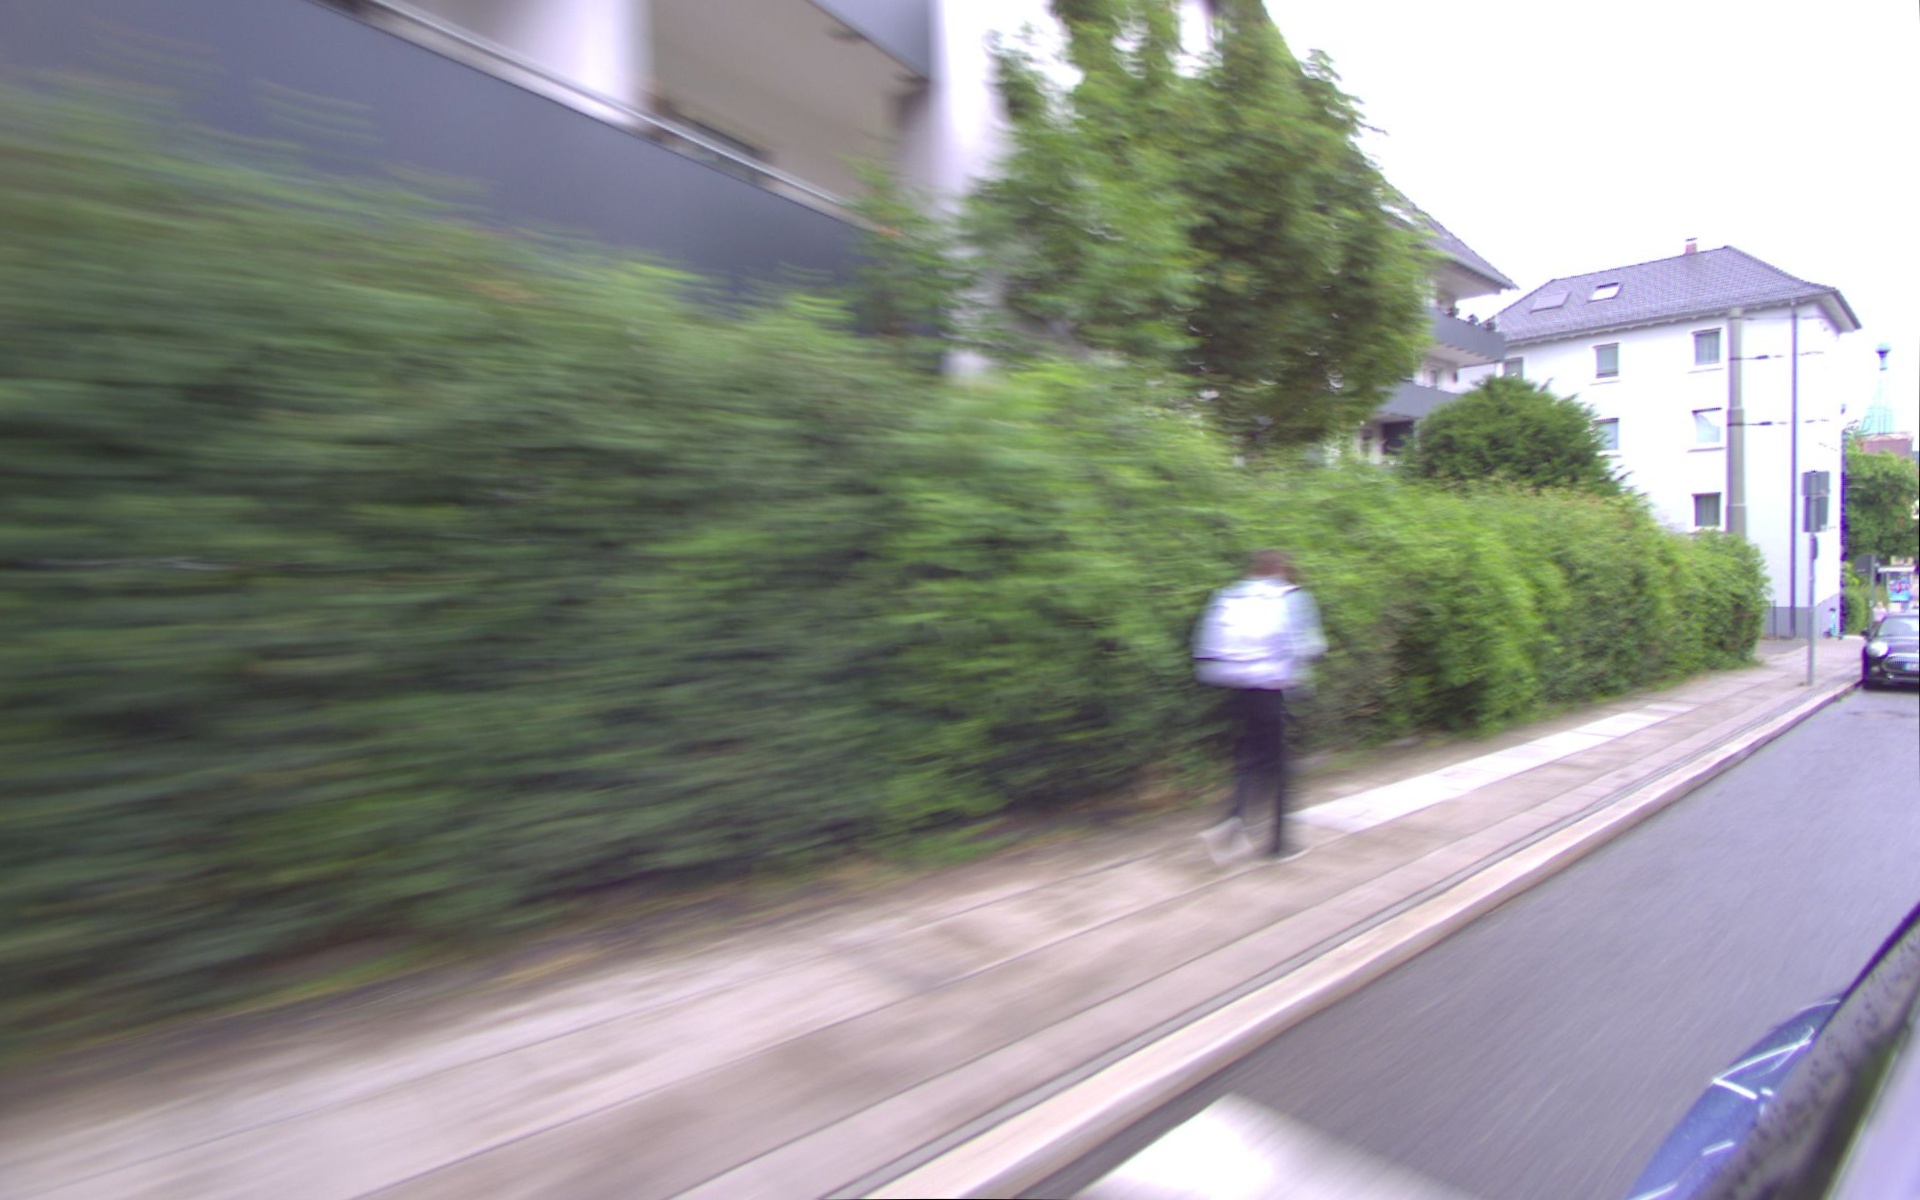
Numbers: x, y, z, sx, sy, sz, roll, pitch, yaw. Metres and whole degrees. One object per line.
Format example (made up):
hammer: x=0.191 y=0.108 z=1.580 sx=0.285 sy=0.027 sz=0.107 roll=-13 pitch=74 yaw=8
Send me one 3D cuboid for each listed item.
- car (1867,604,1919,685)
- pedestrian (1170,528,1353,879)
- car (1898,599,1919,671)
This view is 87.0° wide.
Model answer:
car: x=18.287 y=0.787 z=18.880 sx=3.933 sy=1.375 sz=1.723 roll=0 pitch=0 yaw=-43
pedestrian: x=1.537 y=0.475 z=5.182 sx=0.618 sy=1.641 sz=0.658 roll=0 pitch=1 yaw=-39
car: x=22.121 y=0.742 z=22.418 sx=3.933 sy=1.507 sz=1.723 roll=0 pitch=0 yaw=-43
